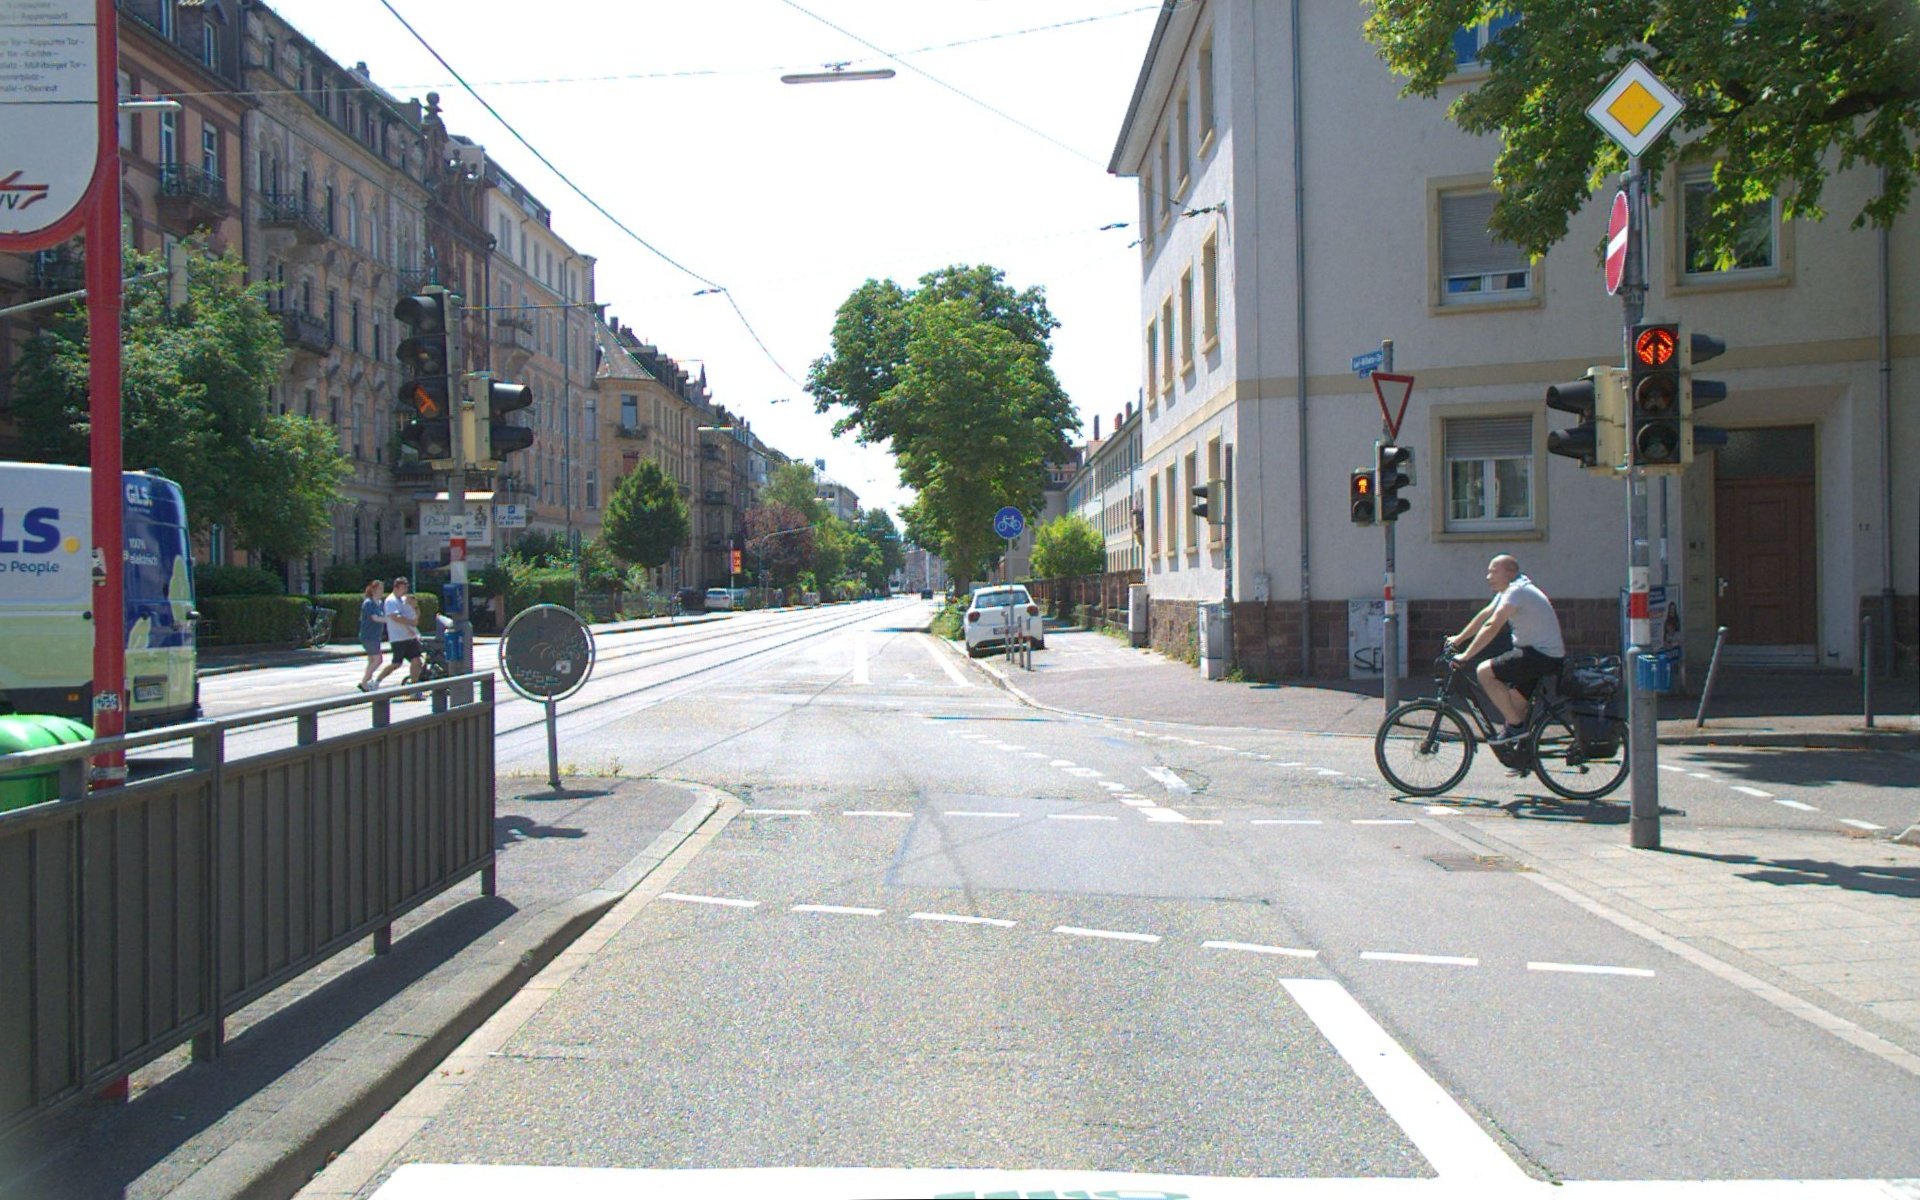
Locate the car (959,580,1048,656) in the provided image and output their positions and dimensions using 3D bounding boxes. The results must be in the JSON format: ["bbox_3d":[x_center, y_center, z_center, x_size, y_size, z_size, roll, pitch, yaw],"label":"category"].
[{"bbox_3d":[0.932,0.395,37.338,1.778,1.542,3.999,-3,0,-1],"label":"car"}]

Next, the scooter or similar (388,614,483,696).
[{"bbox_3d":[-7.669,0.797,24.223,1.176,1.175,0.559,1,-1,5],"label":"scooter or similar"}]

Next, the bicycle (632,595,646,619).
[{"bbox_3d":[-15.494,0.328,79.785,0.665,1.083,1.913,-1,0,-12],"label":"bicycle"}]

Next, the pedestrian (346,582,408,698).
[{"bbox_3d":[-8.564,0.586,24.292,0.661,1.674,0.559,1,-1,3],"label":"pedestrian"}]

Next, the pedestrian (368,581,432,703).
[{"bbox_3d":[-7.886,0.586,23.324,0.661,1.674,0.559,1,-1,3],"label":"pedestrian"}]

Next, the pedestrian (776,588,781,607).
[{"bbox_3d":[-14.614,-0.199,133.127,0.398,1.486,0.436,-1,0,-1],"label":"pedestrian"}]

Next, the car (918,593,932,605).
[{"bbox_3d":[-4.715,-0.170,222.076,1.788,1.545,3.999,1,0,-1],"label":"car"}]

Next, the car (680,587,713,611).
[{"bbox_3d":[-19.670,-0.081,123.604,1.880,1.745,3.999,1,0,-1],"label":"car"}]

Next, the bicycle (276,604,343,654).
[{"bbox_3d":[-15.899,0.698,40.508,0.920,1.156,2.767,1,0,-9],"label":"bicycle"}]

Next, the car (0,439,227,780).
[{"bbox_3d":[-9.591,0.098,14.040,5.699,2.720,2.270,-1,0,-8],"label":"car"}]

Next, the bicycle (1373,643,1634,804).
[{"bbox_3d":[3.888,0.855,11.872,1.724,1.075,0.700,0,0,20],"label":"bicycle"}]

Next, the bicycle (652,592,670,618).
[{"bbox_3d":[-15.271,0.242,84.432,0.664,1.301,1.917,-1,0,-4],"label":"bicycle"}]

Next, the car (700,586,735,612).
[{"bbox_3d":[-16.870,-0.066,115.309,1.880,1.745,3.999,1,0,-1],"label":"car"}]

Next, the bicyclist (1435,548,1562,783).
[{"bbox_3d":[3.872,0.452,11.882,0.829,1.620,0.700,0,0,20],"label":"bicyclist"}]

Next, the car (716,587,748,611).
[{"bbox_3d":[-17.038,-0.036,123.570,1.880,1.745,3.999,1,0,-1],"label":"car"}]

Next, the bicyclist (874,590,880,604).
[{"bbox_3d":[-11.150,-0.345,221.960,0.712,1.850,1.079,1,0,1],"label":"bicyclist"}]

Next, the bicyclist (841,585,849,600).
[{"bbox_3d":[-12.296,-0.811,176.738,0.712,1.657,1.079,1,0,1],"label":"bicyclist"}]
